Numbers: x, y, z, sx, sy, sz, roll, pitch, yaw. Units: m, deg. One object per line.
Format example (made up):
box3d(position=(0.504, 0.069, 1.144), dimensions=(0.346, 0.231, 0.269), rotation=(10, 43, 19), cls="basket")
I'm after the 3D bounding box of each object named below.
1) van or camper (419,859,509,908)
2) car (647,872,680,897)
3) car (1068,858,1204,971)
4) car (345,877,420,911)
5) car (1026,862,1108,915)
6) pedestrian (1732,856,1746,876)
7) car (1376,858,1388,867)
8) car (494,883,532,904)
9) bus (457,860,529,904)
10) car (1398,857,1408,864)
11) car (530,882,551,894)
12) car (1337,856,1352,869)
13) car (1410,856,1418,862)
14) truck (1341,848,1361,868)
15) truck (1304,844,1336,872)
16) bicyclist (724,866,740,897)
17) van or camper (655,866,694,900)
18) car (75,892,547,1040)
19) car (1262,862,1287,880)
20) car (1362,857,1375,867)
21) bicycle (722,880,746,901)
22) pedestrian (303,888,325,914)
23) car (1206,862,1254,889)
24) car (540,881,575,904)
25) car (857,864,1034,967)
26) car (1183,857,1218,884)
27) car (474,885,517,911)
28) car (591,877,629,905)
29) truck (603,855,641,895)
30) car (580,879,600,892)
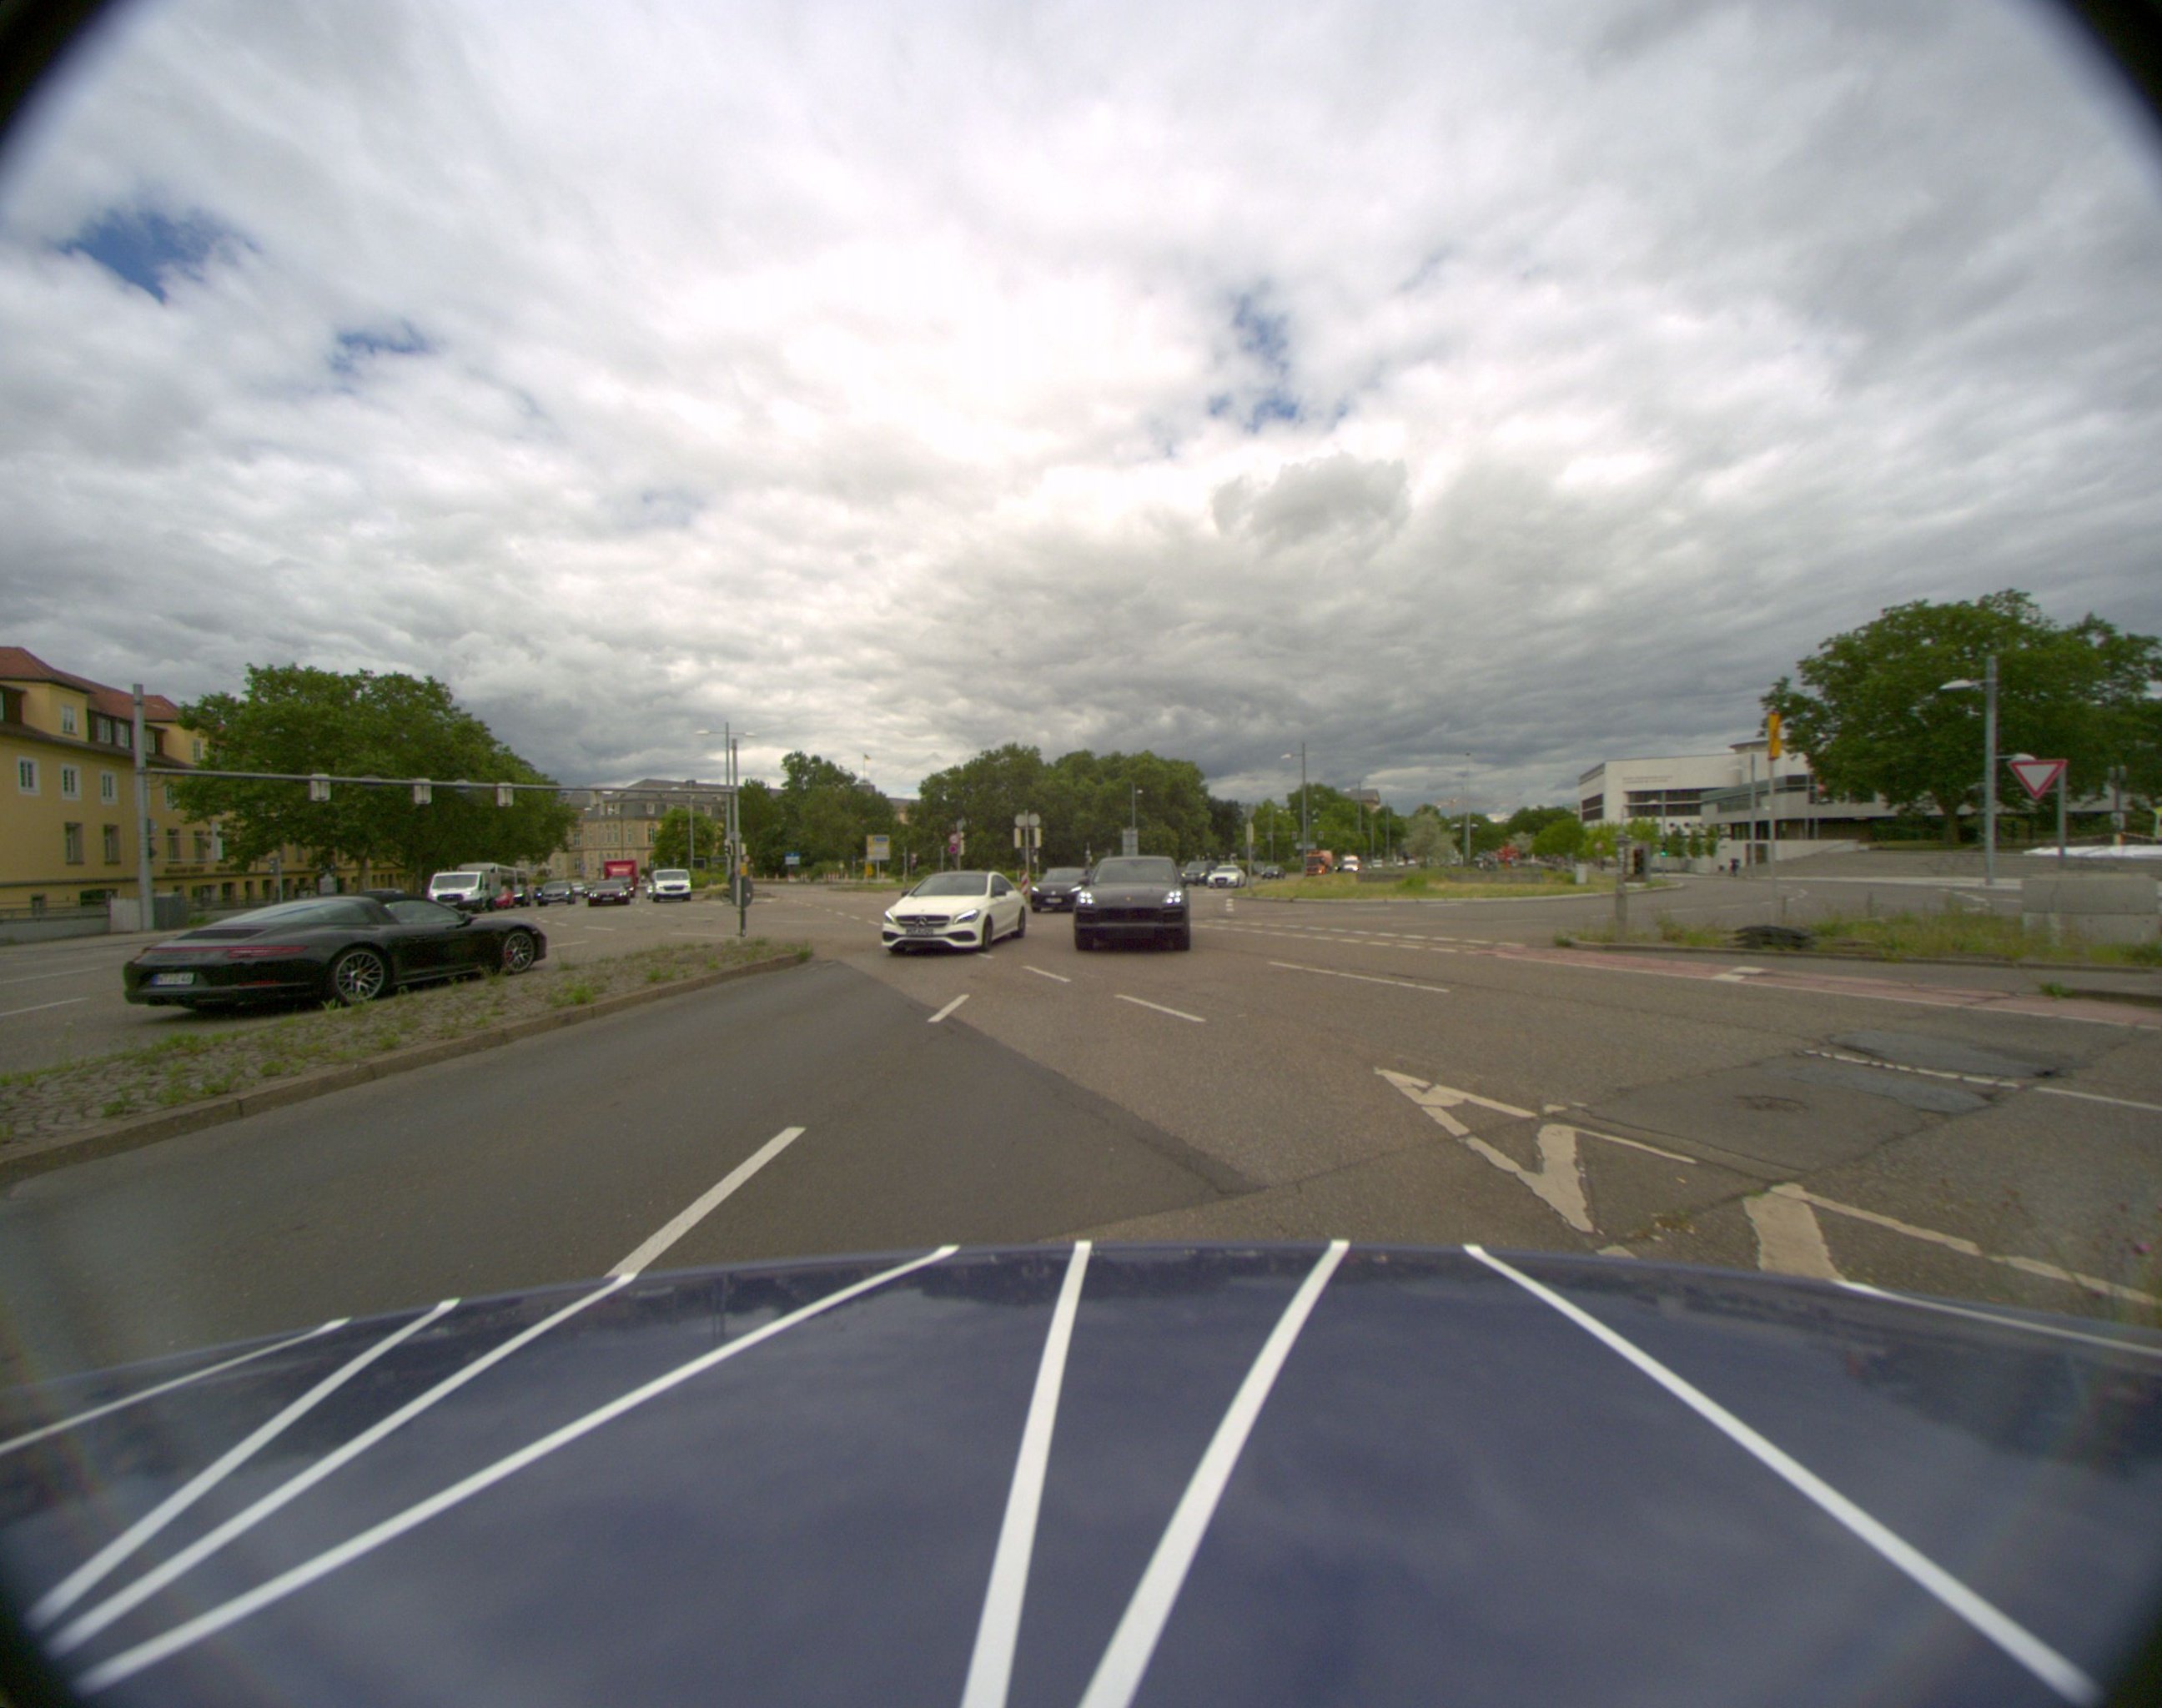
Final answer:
box3d(position=(-31.420, 1.457, 38.936), dimensions=(2.378, 2.249, 6.274), rotation=(-1, 0, -28), cls="van or camper")
box3d(position=(-31.057, 2.218, 56.517), dimensions=(2.003, 1.744, 3.951), rotation=(-1, 0, -30), cls="car")
box3d(position=(0.956, 0.936, 14.037), dimensions=(2.004, 1.628, 5.022), rotation=(-2, 0, 3), cls="car")
box3d(position=(-33.419, 1.872, 36.482), dimensions=(1.832, 1.400, 3.990), rotation=(-1, 0, -31), cls="car")
box3d(position=(-0.375, 1.134, 26.477), dimensions=(1.997, 1.537, 4.572), rotation=(-1, 1, 10), cls="car")
box3d(position=(57.806, 1.092, 66.726), dimensions=(0.682, 1.738, 0.892), rotation=(-1, 0, 22), cls="pedestrian")
box3d(position=(63.539, 1.788, 160.193), dimensions=(1.779, 1.834, 3.806), rotation=(-1, 0, 30), cls="car")
box3d(position=(-38.514, 2.654, 51.552), dimensions=(1.625, 1.228, 3.231), rotation=(-1, 0, -29), cls="car")
box3d(position=(-48.655, 2.206, 63.215), dimensions=(3.441, 3.185, 13.031), rotation=(-1, 0, -32), cls="bus")
box3d(position=(82.988, 1.717, 195.631), dimensions=(1.779, 1.834, 3.806), rotation=(-1, 0, 30), cls="car")
box3d(position=(-67.060, 4.194, 94.356), dimensions=(1.817, 1.370, 3.630), rotation=(-1, 0, -31), cls="car")
box3d(position=(42.063, 1.323, 121.199), dimensions=(1.779, 1.897, 3.806), rotation=(-1, 0, 27), cls="car")
box3d(position=(93.287, 1.409, 212.773), dimensions=(1.779, 1.834, 3.806), rotation=(-1, 0, 30), cls="car")
box3d(position=(38.390, 0.595, 107.923), dimensions=(1.952, 2.767, 5.799), rotation=(-1, 0, 26), cls="truck")
box3d(position=(32.280, 0.492, 102.267), dimensions=(2.722, 3.594, 9.195), rotation=(-1, 0, 26), cls="truck")
box3d(position=(-18.816, 1.471, 40.990), dimensions=(0.505, 1.630, 0.722), rotation=(-1, 0, 0), cls="bicyclist")
box3d(position=(-24.445, 1.684, 45.652), dimensions=(1.869, 1.905, 4.703), rotation=(-1, 0, -30), cls="van or camper")
box3d(position=(-9.103, 1.218, 9.593), dimensions=(1.675, 1.257, 4.059), rotation=(-2, -1, 3), cls="car")
box3d(position=(20.491, 1.778, 80.244), dimensions=(1.856, 1.728, 3.746), rotation=(-1, 0, 25), cls="car")
box3d(position=(54.880, 1.555, 144.937), dimensions=(1.779, 1.834, 3.806), rotation=(-1, 0, 27), cls="car")
box3d(position=(-18.801, 1.973, 41.182), dimensions=(0.505, 1.066, 1.729), rotation=(-1, 0, 0), cls="bicycle")
box3d(position=(-41.689, 2.540, 41.297), dimensions=(0.683, 1.372, 0.577), rotation=(-1, 0, -33), cls="pedestrian")
box3d(position=(9.715, 1.354, 49.322), dimensions=(2.091, 1.600, 4.420), rotation=(0, 0, 25), cls="car")
box3d(position=(-34.512, 2.498, 50.152), dimensions=(1.608, 1.370, 3.991), rotation=(-1, 0, -31), cls="car")
box3d(position=(-2.315, 1.019, 14.395), dimensions=(1.869, 1.560, 4.655), rotation=(-1, 0, 9), cls="car")
box3d(position=(9.118, 1.212, 57.637), dimensions=(1.857, 1.976, 4.648), rotation=(0, 0, 18), cls="car")
box3d(position=(-34.287, 2.533, 44.570), dimensions=(1.618, 1.347, 3.477), rotation=(-1, 0, -31), cls="car")
box3d(position=(-26.511, 2.055, 42.762), dimensions=(1.744, 1.392, 3.702), rotation=(-1, 0, -32), cls="car")
box3d(position=(-42.861, 1.938, 71.073), dimensions=(2.796, 3.469, 8.330), rotation=(-1, 0, -31), cls="truck")
box3d(position=(-55.492, 3.558, 85.899), dimensions=(1.817, 1.370, 3.630), rotation=(-1, 0, -31), cls="car")
